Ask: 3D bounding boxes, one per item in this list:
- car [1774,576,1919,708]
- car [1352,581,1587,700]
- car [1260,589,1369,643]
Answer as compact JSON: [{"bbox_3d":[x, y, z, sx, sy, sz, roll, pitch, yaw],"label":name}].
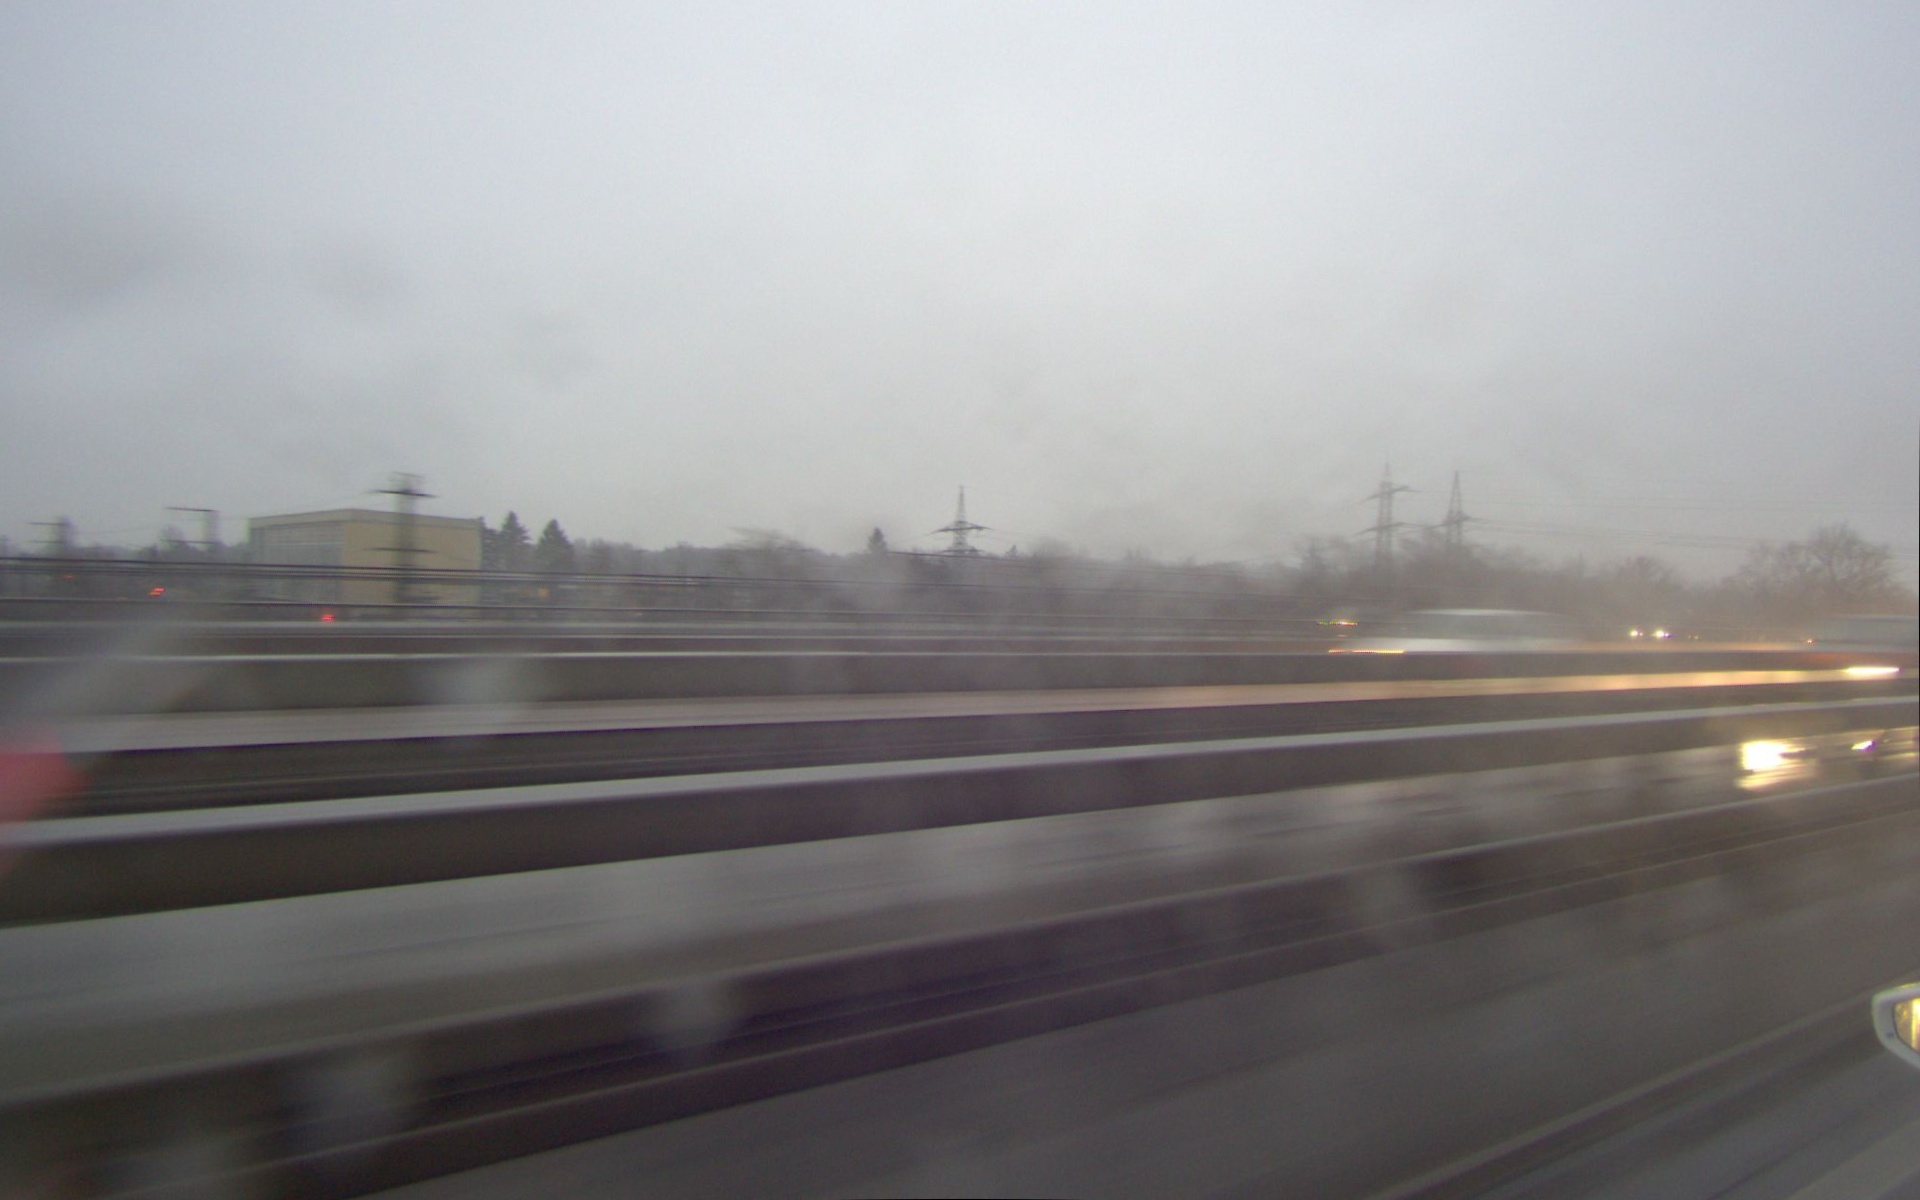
[{"bbox_3d":[16.602,0.681,17.781,4.321,2.080,1.955,1,1,-30],"label":"car"},{"bbox_3d":[8.772,0.651,17.240,3.953,1.840,1.734,1,0,-30],"label":"car"},{"bbox_3d":[14.094,0.649,39.868,3.953,2.040,1.984,1,0,-30],"label":"car"}]
